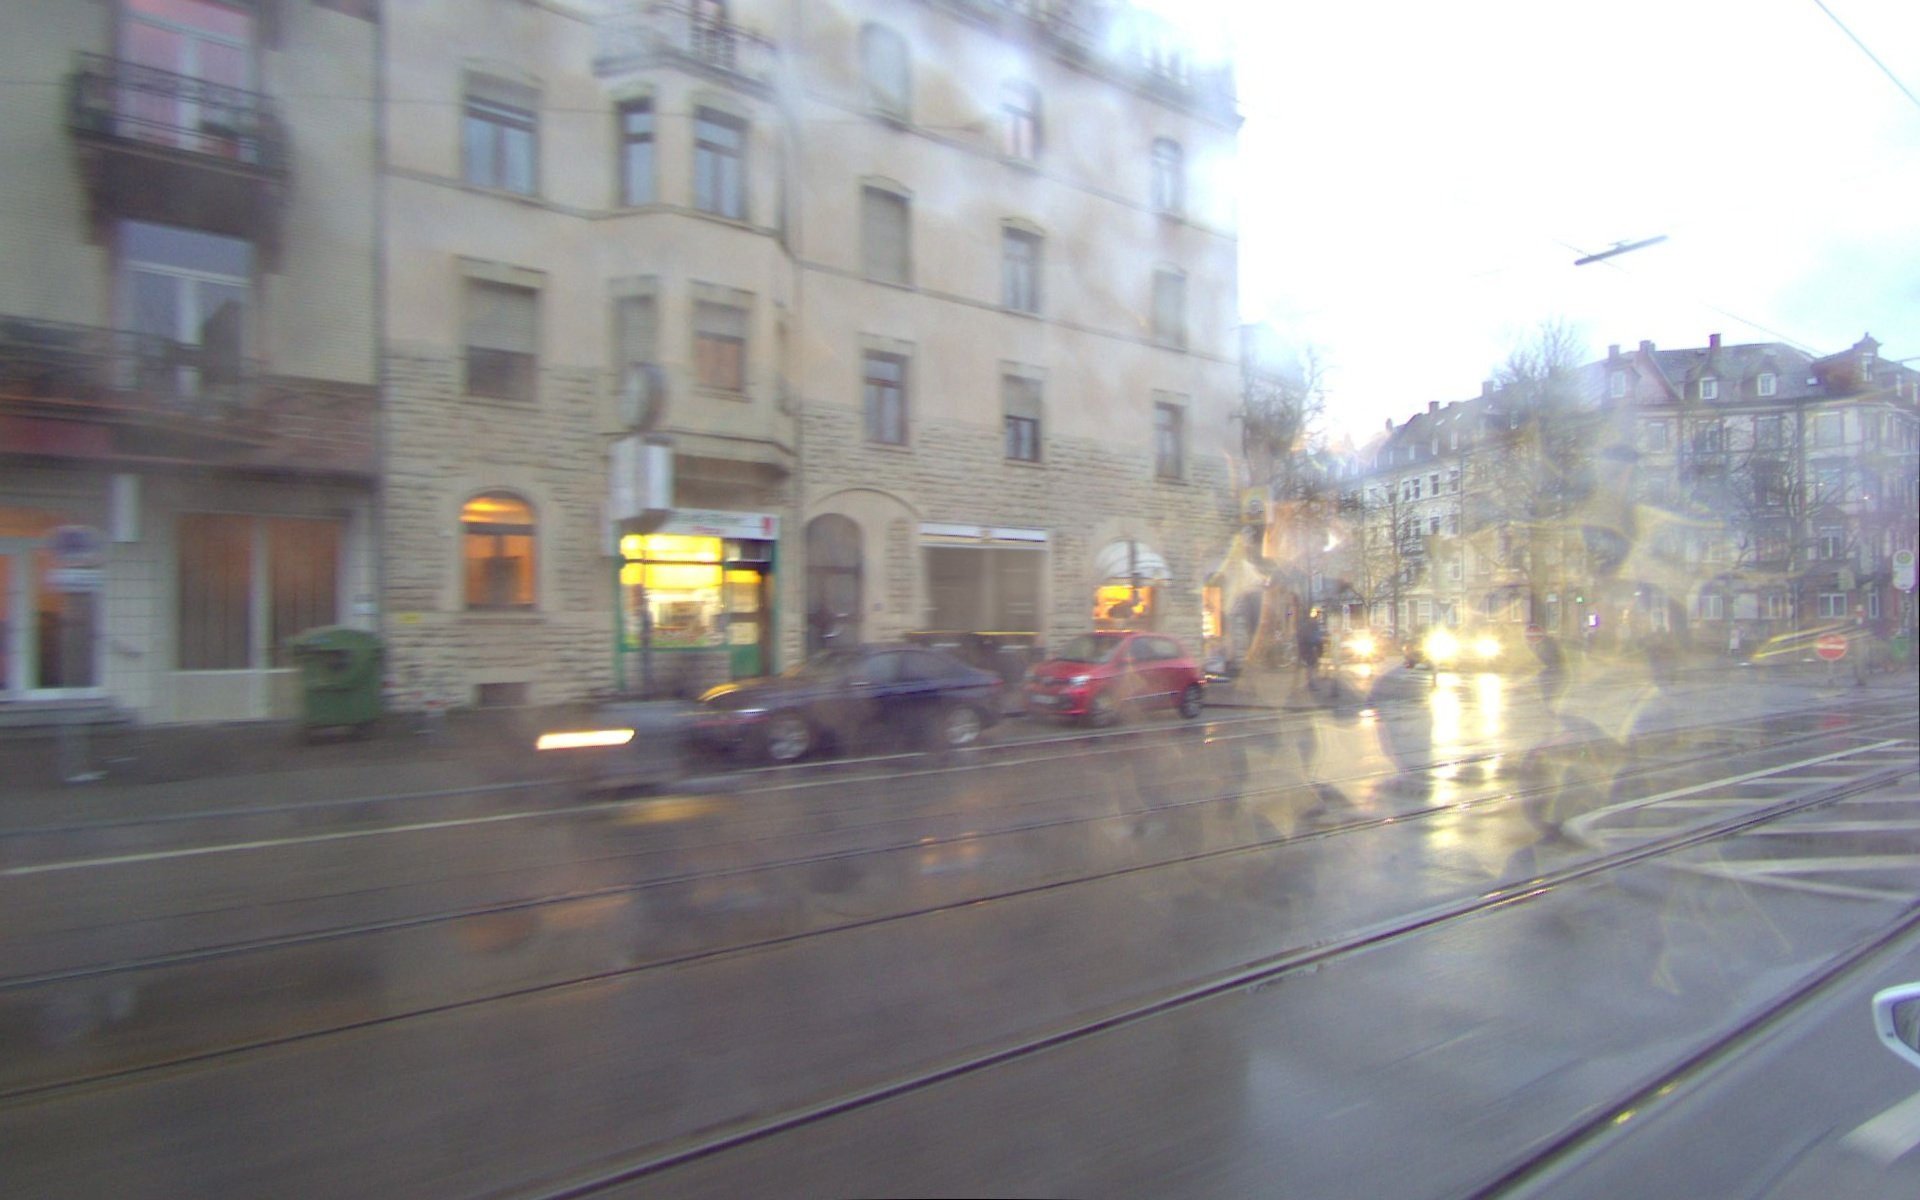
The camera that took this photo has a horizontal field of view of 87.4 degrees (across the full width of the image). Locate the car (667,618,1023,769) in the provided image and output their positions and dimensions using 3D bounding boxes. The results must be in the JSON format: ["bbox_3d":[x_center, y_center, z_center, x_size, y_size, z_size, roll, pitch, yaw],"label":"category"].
[{"bbox_3d":[-1.519,1.195,14.168,4.588,1.667,1.971,2,2,-37],"label":"car"}]

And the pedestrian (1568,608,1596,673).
[{"bbox_3d":[19.861,1.282,32.071,0.695,2.040,0.658,-1,-2,37],"label":"pedestrian"}]

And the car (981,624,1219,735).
[{"bbox_3d":[2.541,1.300,17.856,3.998,1.573,2.020,0,2,-40],"label":"car"}]

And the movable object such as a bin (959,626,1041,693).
[{"bbox_3d":[0.846,1.249,21.534,1.239,1.385,1.286,1,-1,-34],"label":"movable object such as a bin"}]

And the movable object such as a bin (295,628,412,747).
[{"bbox_3d":[-7.887,1.081,13.058,1.237,1.439,1.260,1,-1,-34],"label":"movable object such as a bin"}]

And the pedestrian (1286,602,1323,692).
[{"bbox_3d":[7.965,1.080,23.245,0.635,2.040,0.758,0,-1,2],"label":"pedestrian"}]

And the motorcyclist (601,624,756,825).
[{"bbox_3d":[-2.387,0.994,8.534,1.008,1.569,0.835,1,-2,-45],"label":"motorcyclist"}]

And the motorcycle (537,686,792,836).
[{"bbox_3d":[-2.448,1.286,8.486,1.906,1.005,0.847,1,-2,-45],"label":"motorcycle"}]

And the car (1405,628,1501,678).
[{"bbox_3d":[17.818,1.891,36.530,1.981,1.695,4.003,0,-1,8],"label":"car"}]

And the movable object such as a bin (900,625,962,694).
[{"bbox_3d":[-0.613,1.237,21.185,0.996,1.396,0.893,1,-1,-34],"label":"movable object such as a bin"}]
